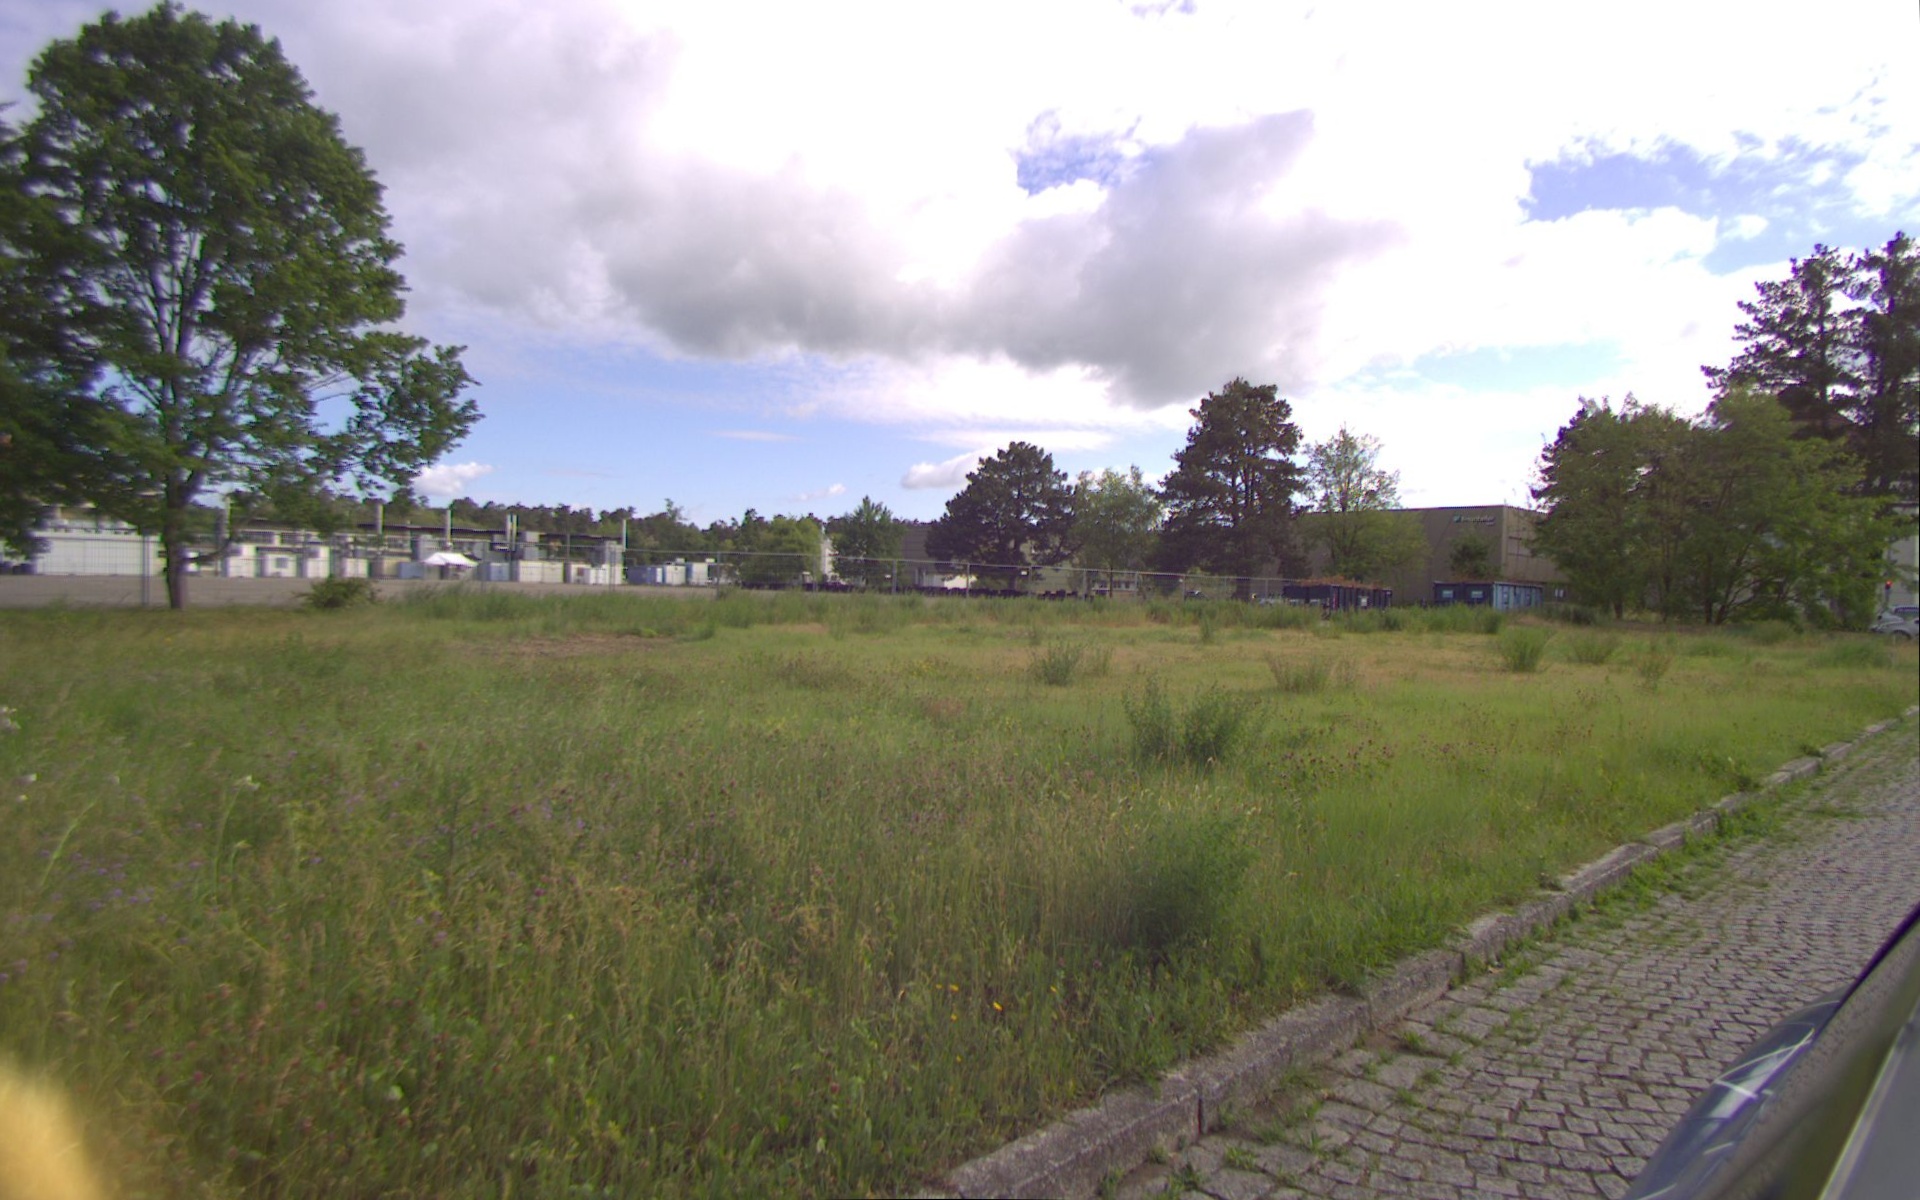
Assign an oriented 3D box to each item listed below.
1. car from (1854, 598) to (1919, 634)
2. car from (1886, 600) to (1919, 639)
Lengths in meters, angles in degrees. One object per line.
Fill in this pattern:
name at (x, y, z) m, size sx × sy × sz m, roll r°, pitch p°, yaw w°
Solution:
car at (39.769, 0.651, 42.168) m, size 3.716 × 1.456 × 1.602 m, roll -1°, pitch 0°, yaw 42°
car at (36.807, 0.716, 37.419) m, size 1.600 × 1.456 × 3.721 m, roll -1°, pitch 0°, yaw -44°
